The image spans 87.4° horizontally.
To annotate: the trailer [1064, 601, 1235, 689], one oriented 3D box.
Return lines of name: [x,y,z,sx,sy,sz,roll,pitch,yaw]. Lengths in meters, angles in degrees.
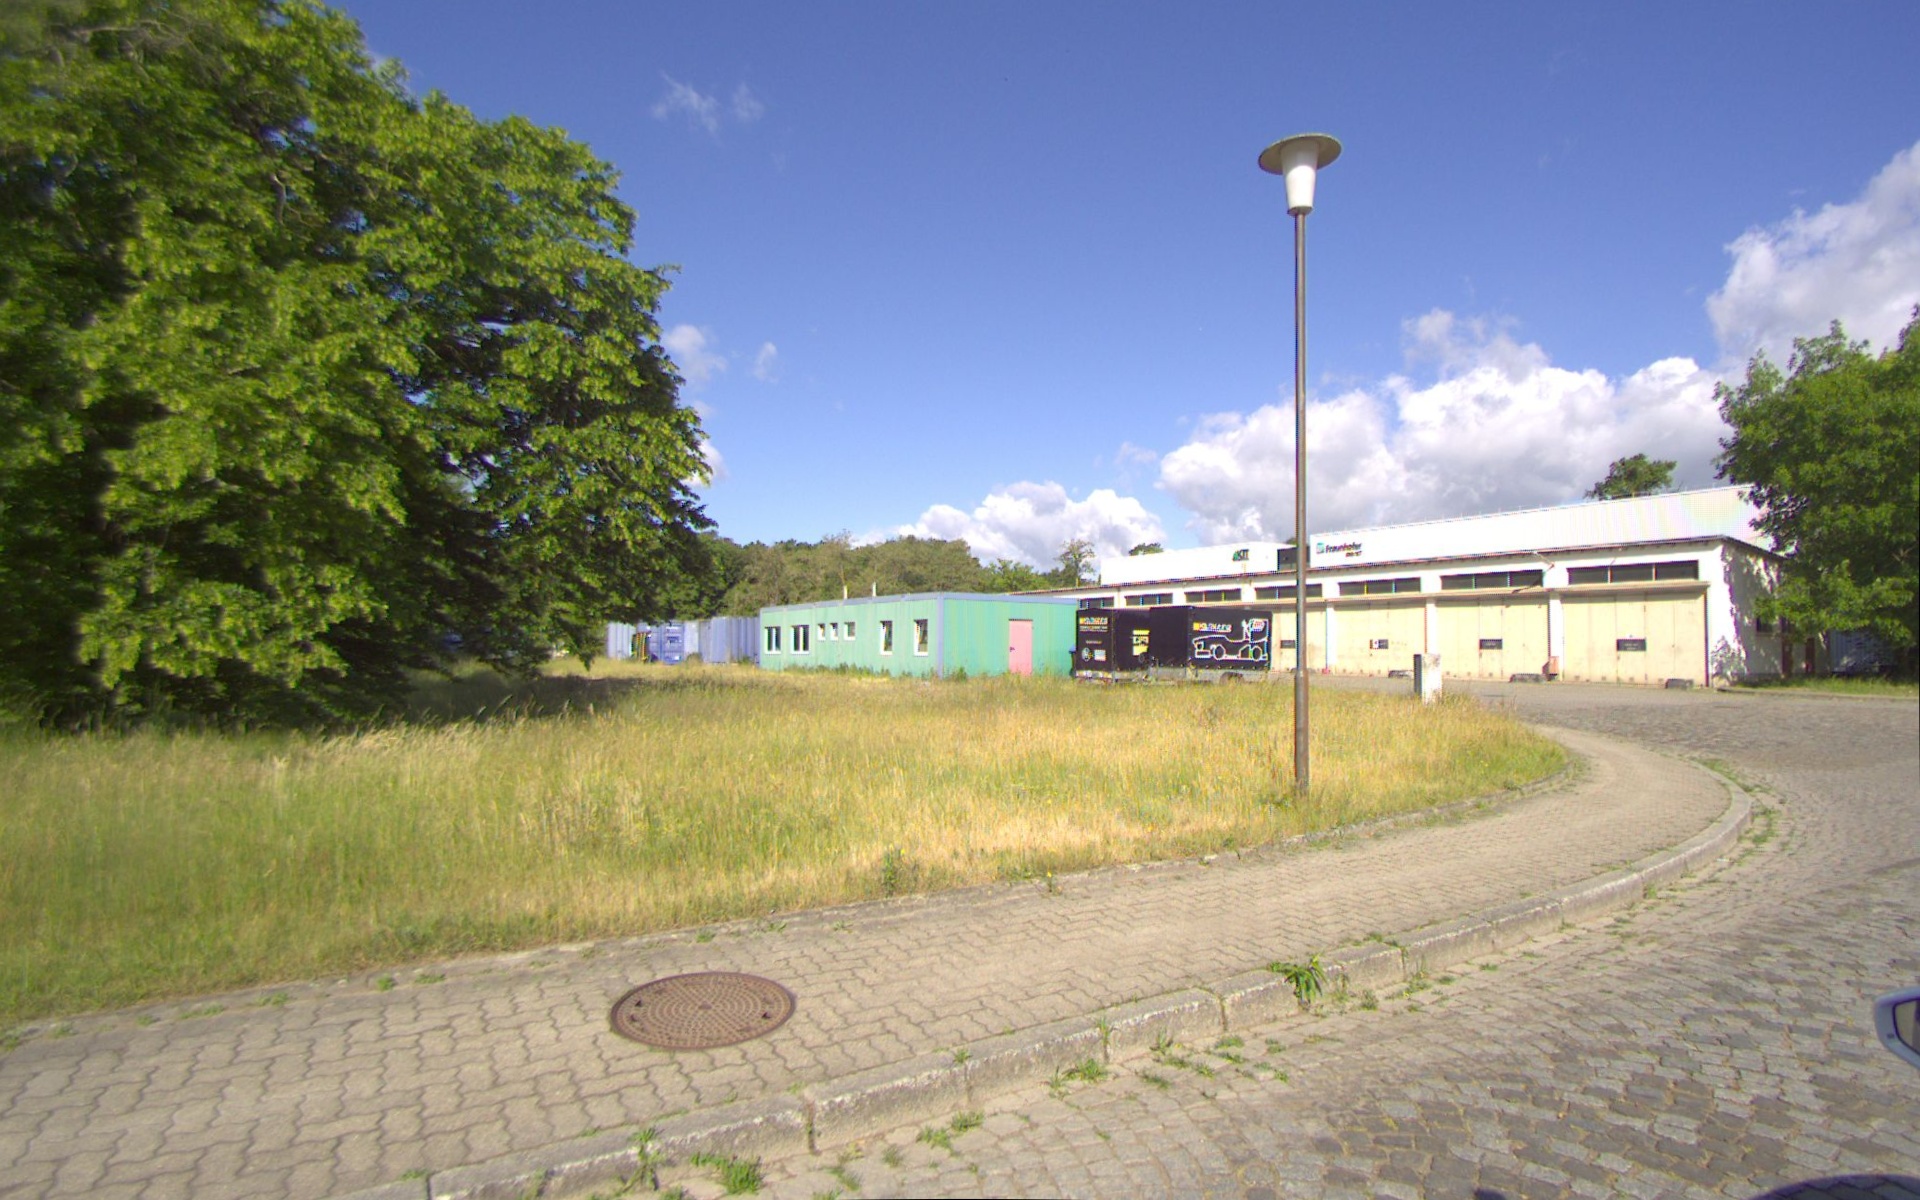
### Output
trailer: [5.590,1.339,29.412,4.924,2.385,2.076,2,-3,-34]

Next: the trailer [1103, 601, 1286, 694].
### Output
trailer: [6.351,1.289,27.147,4.614,2.328,2.121,2,-3,-29]

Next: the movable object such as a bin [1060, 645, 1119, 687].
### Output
movable object such as a bin: [4.432,2.237,34.442,1.376,1.404,1.517,3,-3,-42]
